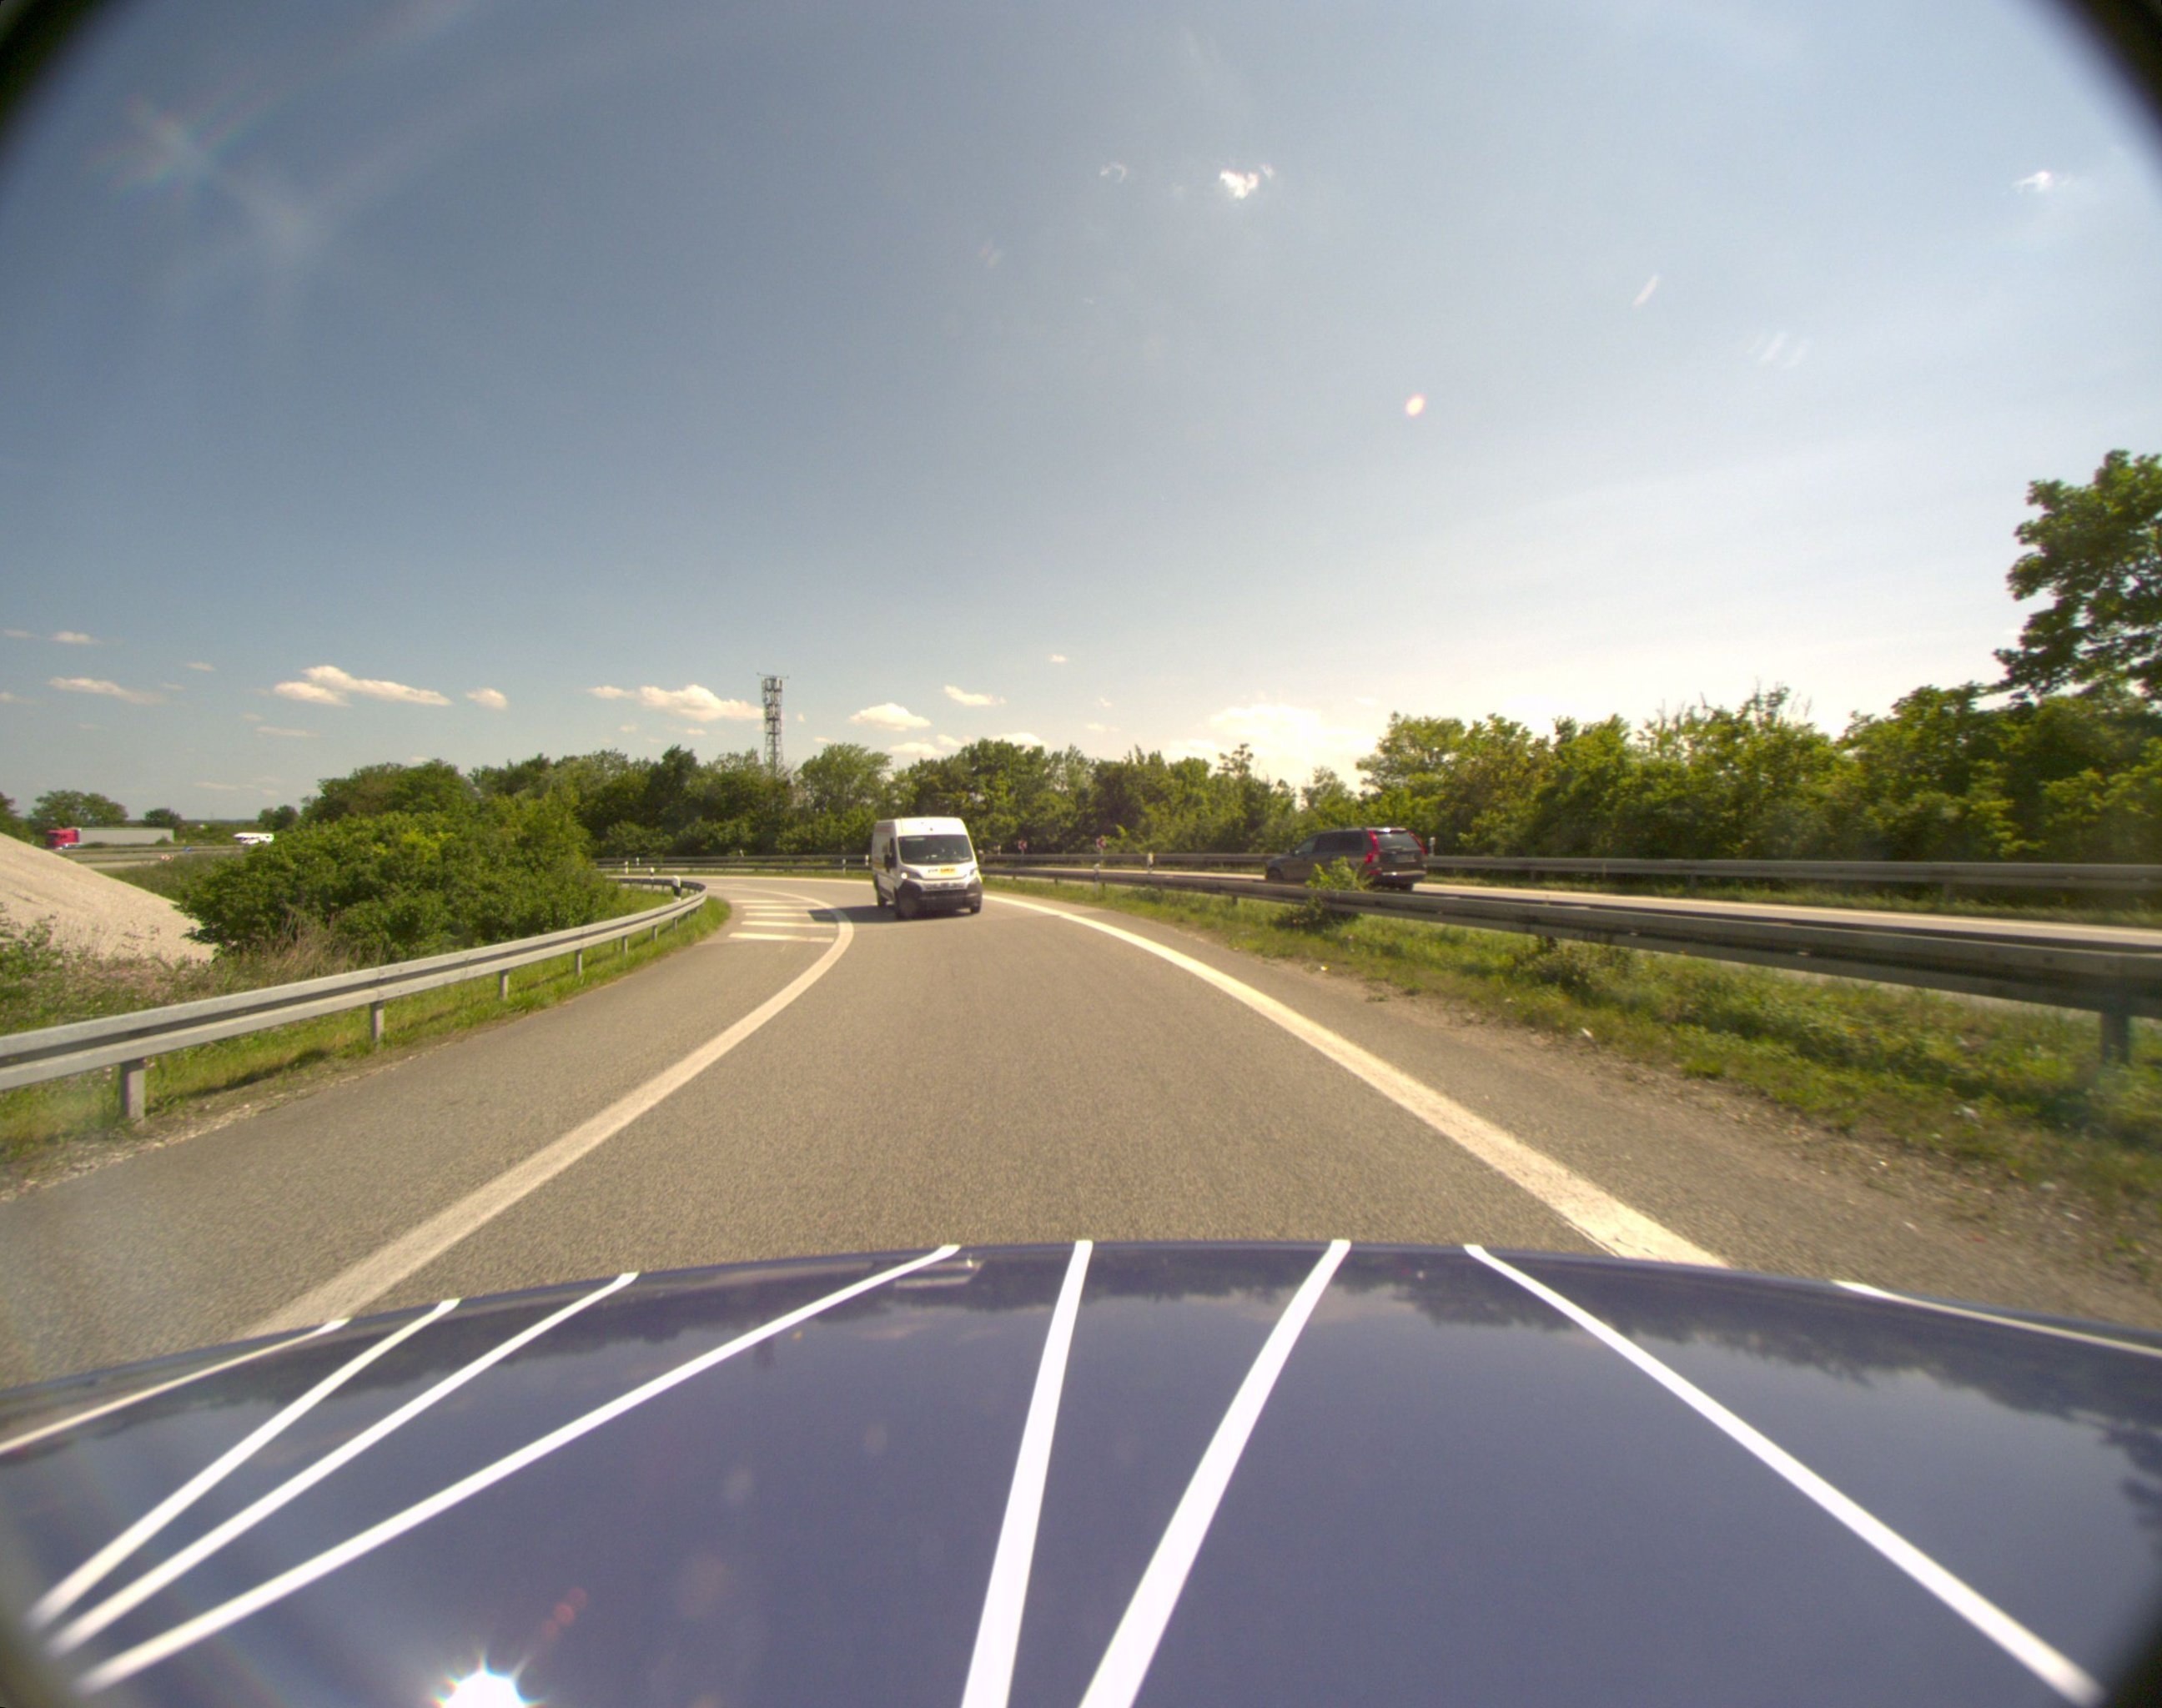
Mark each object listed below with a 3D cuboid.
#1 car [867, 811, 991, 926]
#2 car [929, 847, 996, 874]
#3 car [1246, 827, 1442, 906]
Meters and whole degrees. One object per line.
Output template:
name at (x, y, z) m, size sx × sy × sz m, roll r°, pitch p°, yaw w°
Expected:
car at (-4.272, 0.239, 20.368) m, size 2.090 × 2.510 × 6.224 m, roll -4°, pitch 3°, yaw -21°
car at (-7.131, 0.364, 45.374) m, size 1.802 × 1.440 × 4.690 m, roll -4°, pitch 2°, yaw -39°
car at (6.606, 0.265, 19.873) m, size 2.002 × 1.721 × 5.188 m, roll -2°, pitch 1°, yaw -20°
